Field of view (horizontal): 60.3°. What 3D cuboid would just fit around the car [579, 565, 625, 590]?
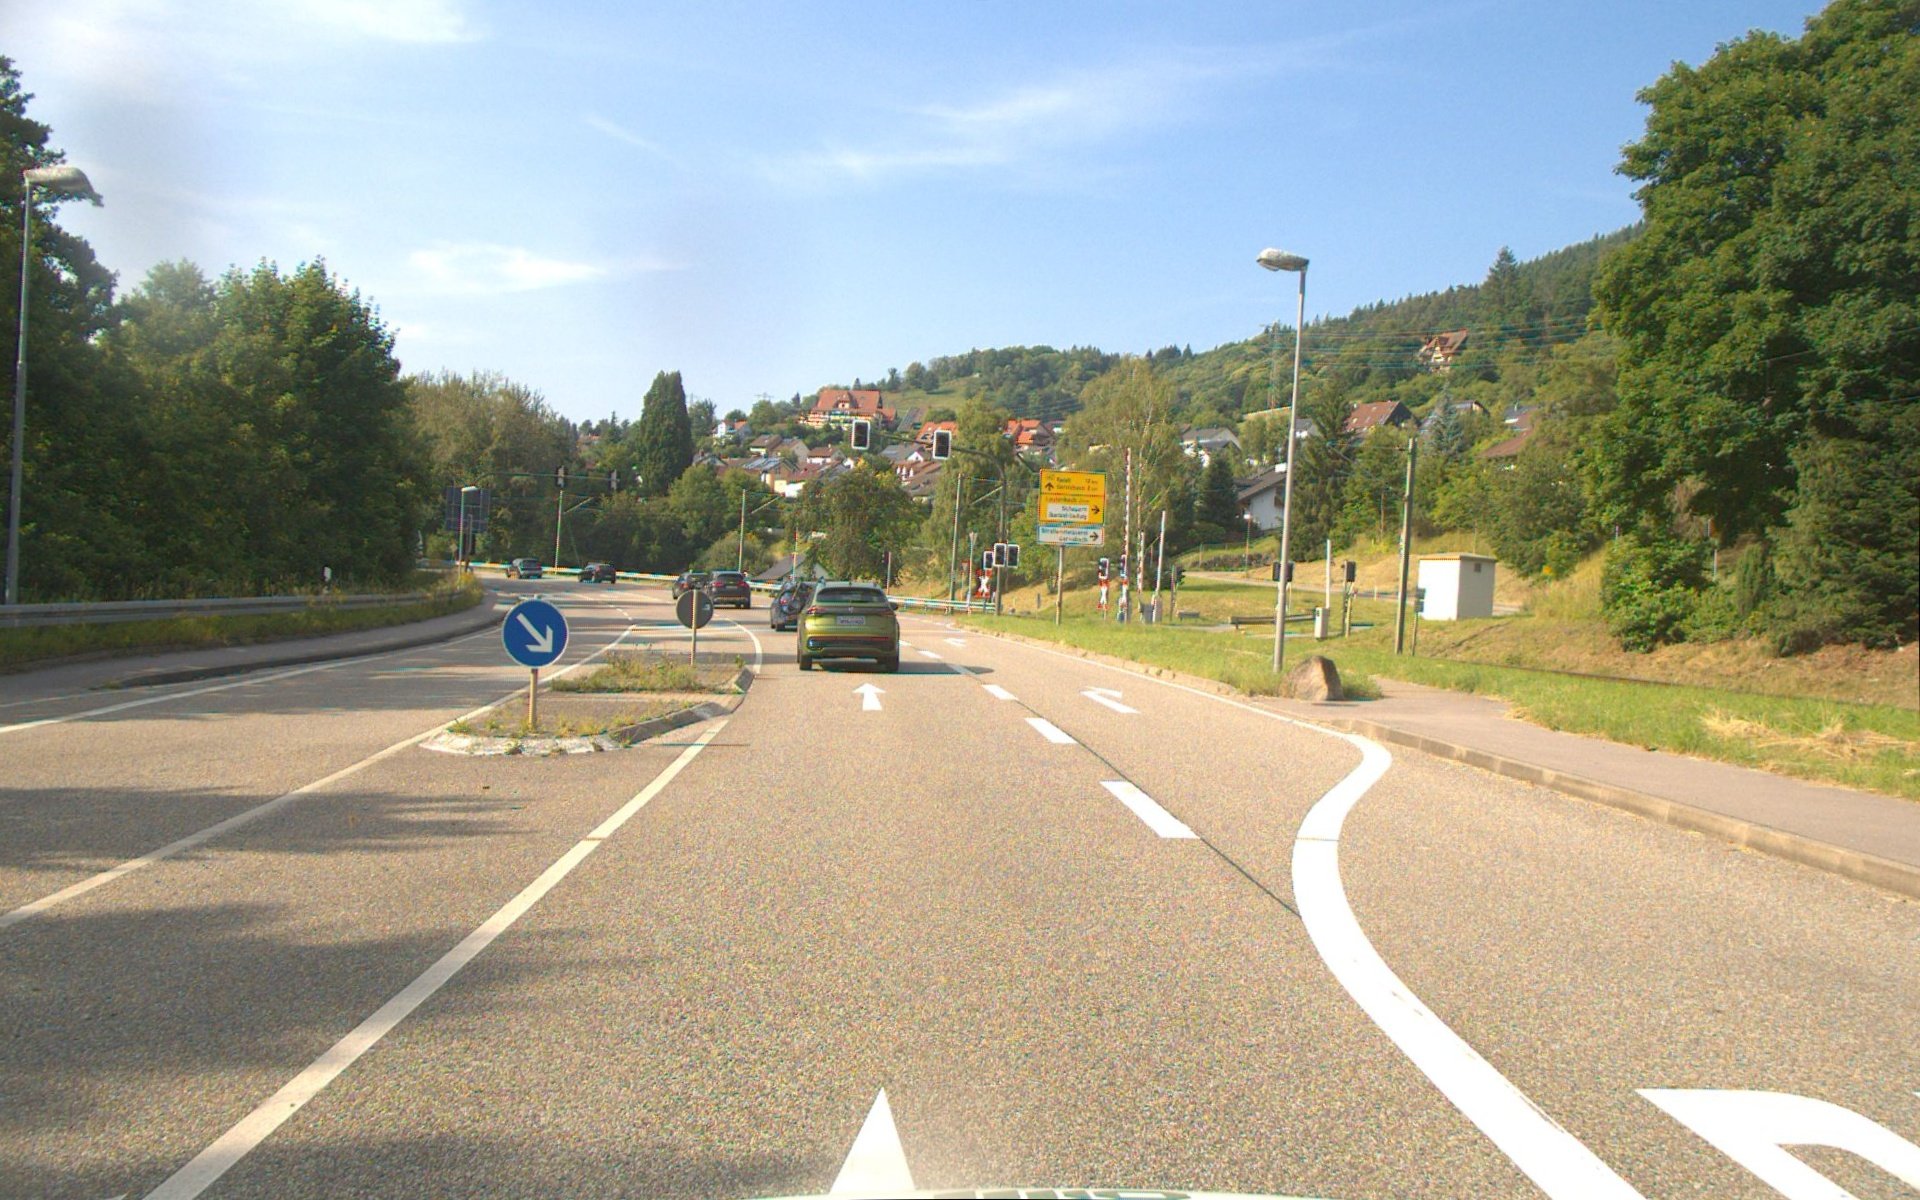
[{"bbox_3d":[-27.052,-1.733,125.053,1.977,1.775,3.951,2,1,-35],"label":"car"}]

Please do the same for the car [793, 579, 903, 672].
[{"bbox_3d":[-2.041,0.403,29.225,1.682,1.480,3.994,1,0,-7],"label":"car"}]

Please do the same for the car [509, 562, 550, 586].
[{"bbox_3d":[-34.962,-2.092,134.284,2.046,1.842,3.952,1,1,-34],"label":"car"}]

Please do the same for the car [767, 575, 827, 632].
[{"bbox_3d":[-4.862,0.080,48.971,1.635,1.586,3.994,1,0,-7],"label":"car"}]

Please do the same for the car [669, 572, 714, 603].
[{"bbox_3d":[-14.227,-0.663,87.496,1.820,1.553,3.644,1,1,-18],"label":"car"}]

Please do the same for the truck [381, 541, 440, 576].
[{"bbox_3d":[-51.839,-3.896,155.963,6.002,3.137,2.704,2,1,43],"label":"truck"}]

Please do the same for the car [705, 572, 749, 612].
[{"bbox_3d":[-10.472,-0.358,74.142,1.846,1.716,3.991,1,0,-10],"label":"car"}]
